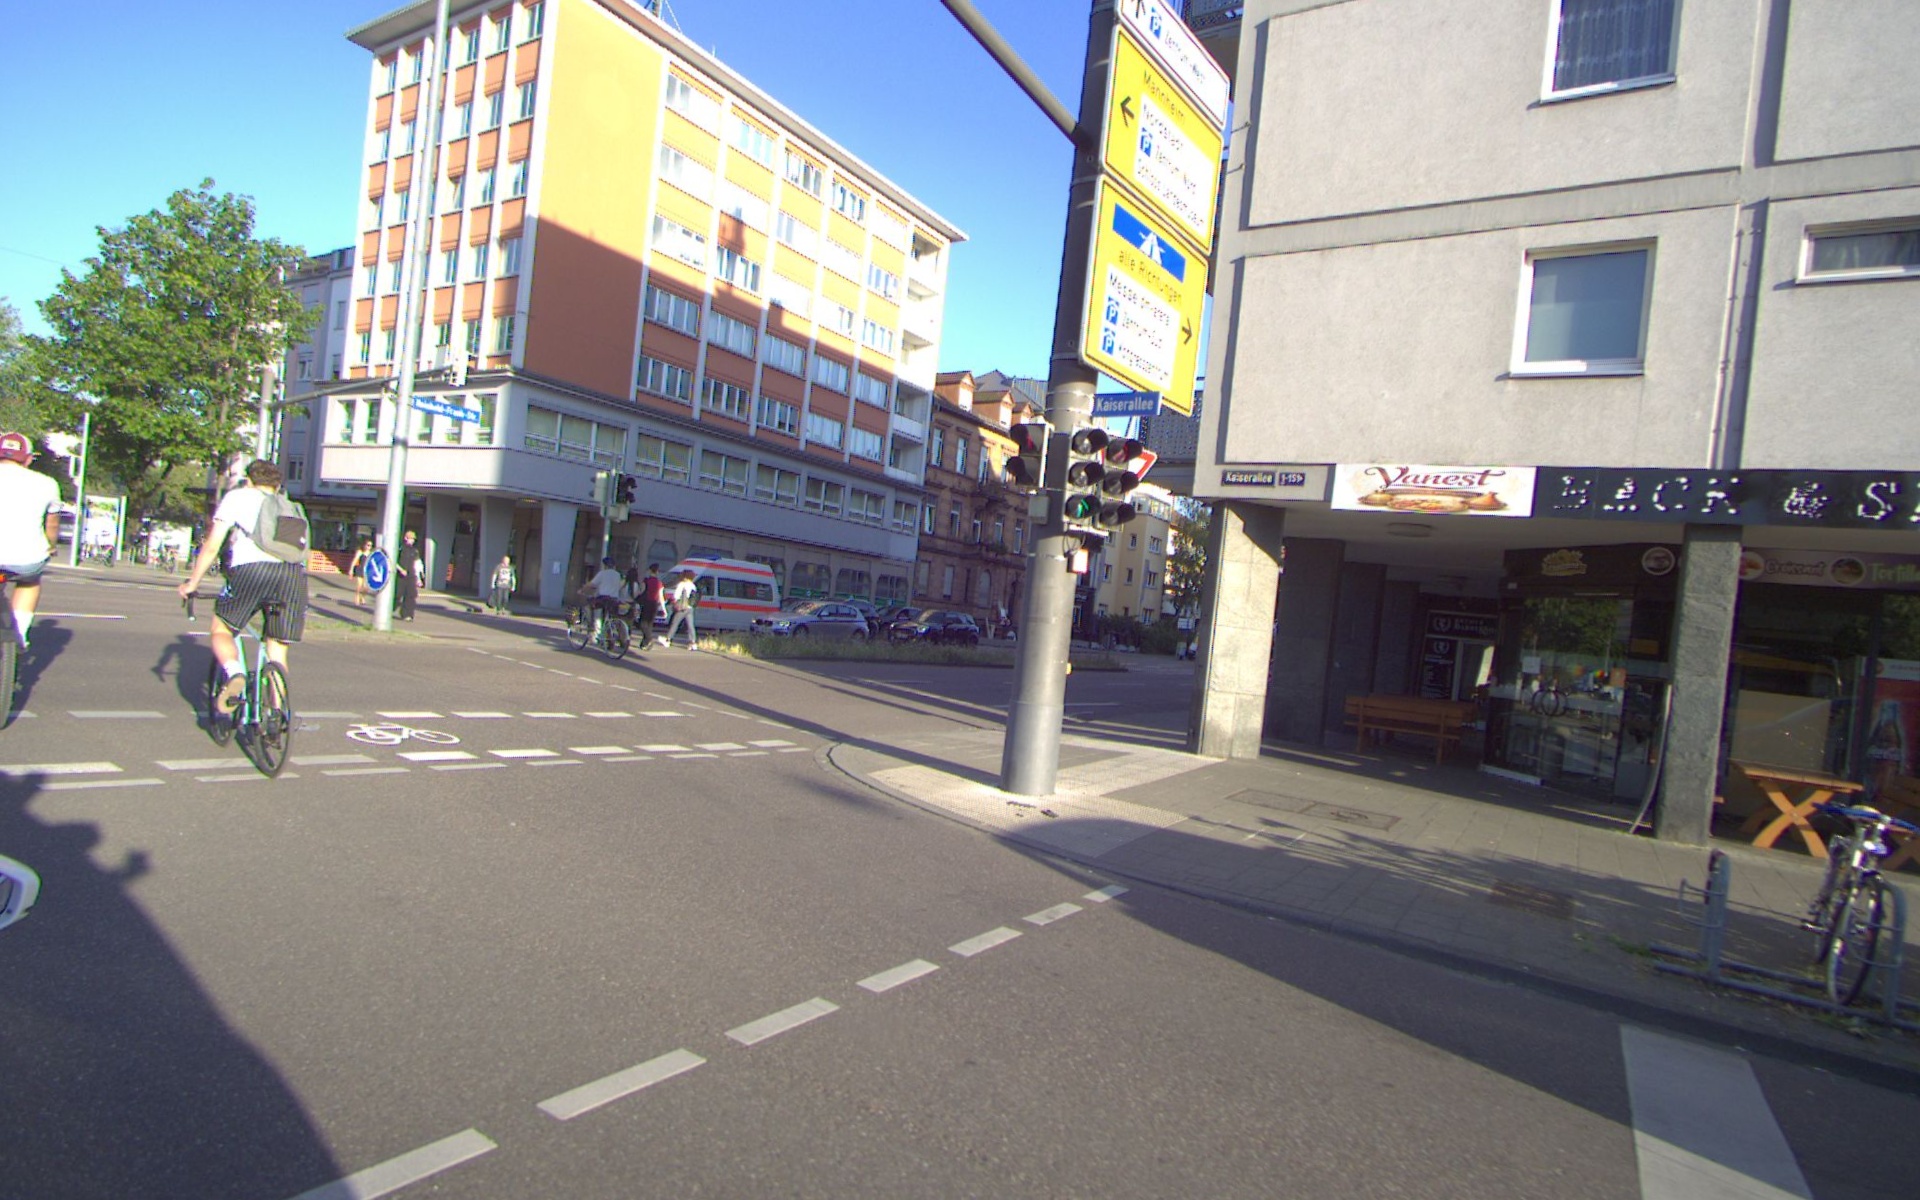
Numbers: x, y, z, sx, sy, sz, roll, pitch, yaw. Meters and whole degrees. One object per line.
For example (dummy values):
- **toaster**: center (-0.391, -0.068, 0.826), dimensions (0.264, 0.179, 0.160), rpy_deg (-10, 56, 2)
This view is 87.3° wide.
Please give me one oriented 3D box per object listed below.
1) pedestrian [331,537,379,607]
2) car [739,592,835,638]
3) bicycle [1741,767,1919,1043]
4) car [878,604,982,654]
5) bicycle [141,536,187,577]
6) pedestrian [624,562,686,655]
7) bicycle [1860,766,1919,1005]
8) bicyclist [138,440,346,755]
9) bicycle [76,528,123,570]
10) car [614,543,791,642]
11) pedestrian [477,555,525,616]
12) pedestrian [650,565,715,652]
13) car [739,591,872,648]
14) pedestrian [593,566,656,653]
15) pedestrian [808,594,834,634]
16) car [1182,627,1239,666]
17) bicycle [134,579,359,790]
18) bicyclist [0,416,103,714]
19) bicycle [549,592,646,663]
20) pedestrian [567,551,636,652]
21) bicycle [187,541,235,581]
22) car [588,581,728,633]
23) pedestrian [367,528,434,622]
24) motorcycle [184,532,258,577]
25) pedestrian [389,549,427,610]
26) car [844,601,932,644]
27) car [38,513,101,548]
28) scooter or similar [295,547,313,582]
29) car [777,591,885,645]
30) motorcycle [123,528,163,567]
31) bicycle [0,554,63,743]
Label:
- **pedestrian**: center (-14.904, -0.687, 24.791), dimensions (0.735, 1.609, 0.681), rpy_deg (7, 1, 38)
- **car**: center (-7.227, 0.644, 42.329), dimensions (1.728, 1.528, 3.764), rpy_deg (7, 0, 35)
- **bicycle**: center (4.884, 1.575, 5.526), dimensions (0.597, 1.074, 1.870), rpy_deg (6, 0, 30)
- **car**: center (-1.041, 1.116, 37.373), dimensions (1.759, 1.482, 3.989), rpy_deg (6, -1, 34)
- **bicycle**: center (-26.645, -1.464, 33.662), dimensions (1.844, 1.141, 0.645), rpy_deg (7, 1, 35)
- **pedestrian**: center (-5.855, 0.160, 19.310), dimensions (0.735, 1.683, 0.682), rpy_deg (7, 1, 35)
- **bicycle**: center (5.434, 1.596, 5.249), dimensions (0.597, 1.141, 1.868), rpy_deg (6, 2, 29)
- **bicyclist**: center (-4.556, -0.026, 6.380), dimensions (0.979, 1.830, 0.673), rpy_deg (6, 0, 37)
- **bicycle**: center (-27.544, -1.626, 32.193), dimensions (1.844, 1.141, 0.645), rpy_deg (7, 1, 35)
- **car**: center (-7.888, -0.149, 31.406), dimensions (1.894, 2.512, 5.255), rpy_deg (6, -1, 33)
- **pedestrian**: center (-13.901, -0.435, 30.481), dimensions (1.011, 1.723, 0.783), rpy_deg (7, 1, 35)
- **pedestrian**: center (-5.733, 0.180, 20.794), dimensions (0.891, 1.683, 0.727), rpy_deg (7, 1, 35)
- **car**: center (-4.677, 0.647, 30.974), dimensions (1.777, 1.393, 3.990), rpy_deg (5, -1, 33)
- **pedestrian**: center (-6.245, 0.174, 18.739), dimensions (0.735, 1.518, 0.682), rpy_deg (7, 1, 35)
- **pedestrian**: center (-6.499, 0.651, 47.092), dimensions (0.630, 1.778, 0.817), rpy_deg (7, 1, 36)
- **car**: center (19.256, 3.612, 77.045), dimensions (2.091, 2.554, 6.416), rpy_deg (7, 0, 33)
- **bicycle**: center (-4.512, 0.474, 6.308), dimensions (1.829, 1.040, 0.575), rpy_deg (6, 0, 38)
- **bicyclist**: center (-6.318, -0.249, 6.525), dimensions (1.041, 1.830, 0.826), rpy_deg (6, 0, 37)
- **bicycle**: center (-6.129, 0.449, 16.982), dimensions (1.821, 0.993, 0.520), rpy_deg (6, 1, 35)
- **pedestrian**: center (-6.043, 0.026, 16.955), dimensions (0.750, 1.609, 0.675), rpy_deg (4, -1, 36)
- **bicycle**: center (-25.854, -1.359, 34.708), dimensions (2.090, 1.172, 0.645), rpy_deg (7, 1, 35)
- **car**: center (-10.812, 0.286, 36.369), dimensions (1.811, 1.357, 4.664), rpy_deg (6, -1, 35)
- **pedestrian**: center (-10.976, -0.495, 19.726), dimensions (1.055, 1.726, 0.661), rpy_deg (7, 1, 38)
- **motorcycle**: center (-27.668, -1.685, 37.702), dimensions (0.750, 1.423, 2.041), rpy_deg (7, 0, 41)
- **pedestrian**: center (-16.446, -0.614, 29.970), dimensions (0.799, 1.723, 0.568), rpy_deg (7, 1, 35)
- **car**: center (-3.402, 1.100, 48.175), dimensions (1.969, 1.593, 3.988), rpy_deg (7, 0, 35)
- **car**: center (-43.737, -3.383, 49.497), dimensions (1.715, 1.491, 3.865), rpy_deg (4, 1, -33)
- **scooter or similar**: center (-25.234, -1.358, 38.681), dimensions (0.413, 1.270, 1.171), rpy_deg (6, 0, -37)
- **car**: center (-4.636, 0.684, 36.809), dimensions (1.570, 1.590, 4.076), rpy_deg (7, 0, 32)
- **motorcycle**: center (-30.207, -1.959, 37.200), dimensions (2.169, 1.258, 0.665), rpy_deg (6, 0, 40)
- **bicycle**: center (-6.401, 0.244, 6.509), dimensions (1.952, 1.040, 0.478), rpy_deg (6, 0, 38)
